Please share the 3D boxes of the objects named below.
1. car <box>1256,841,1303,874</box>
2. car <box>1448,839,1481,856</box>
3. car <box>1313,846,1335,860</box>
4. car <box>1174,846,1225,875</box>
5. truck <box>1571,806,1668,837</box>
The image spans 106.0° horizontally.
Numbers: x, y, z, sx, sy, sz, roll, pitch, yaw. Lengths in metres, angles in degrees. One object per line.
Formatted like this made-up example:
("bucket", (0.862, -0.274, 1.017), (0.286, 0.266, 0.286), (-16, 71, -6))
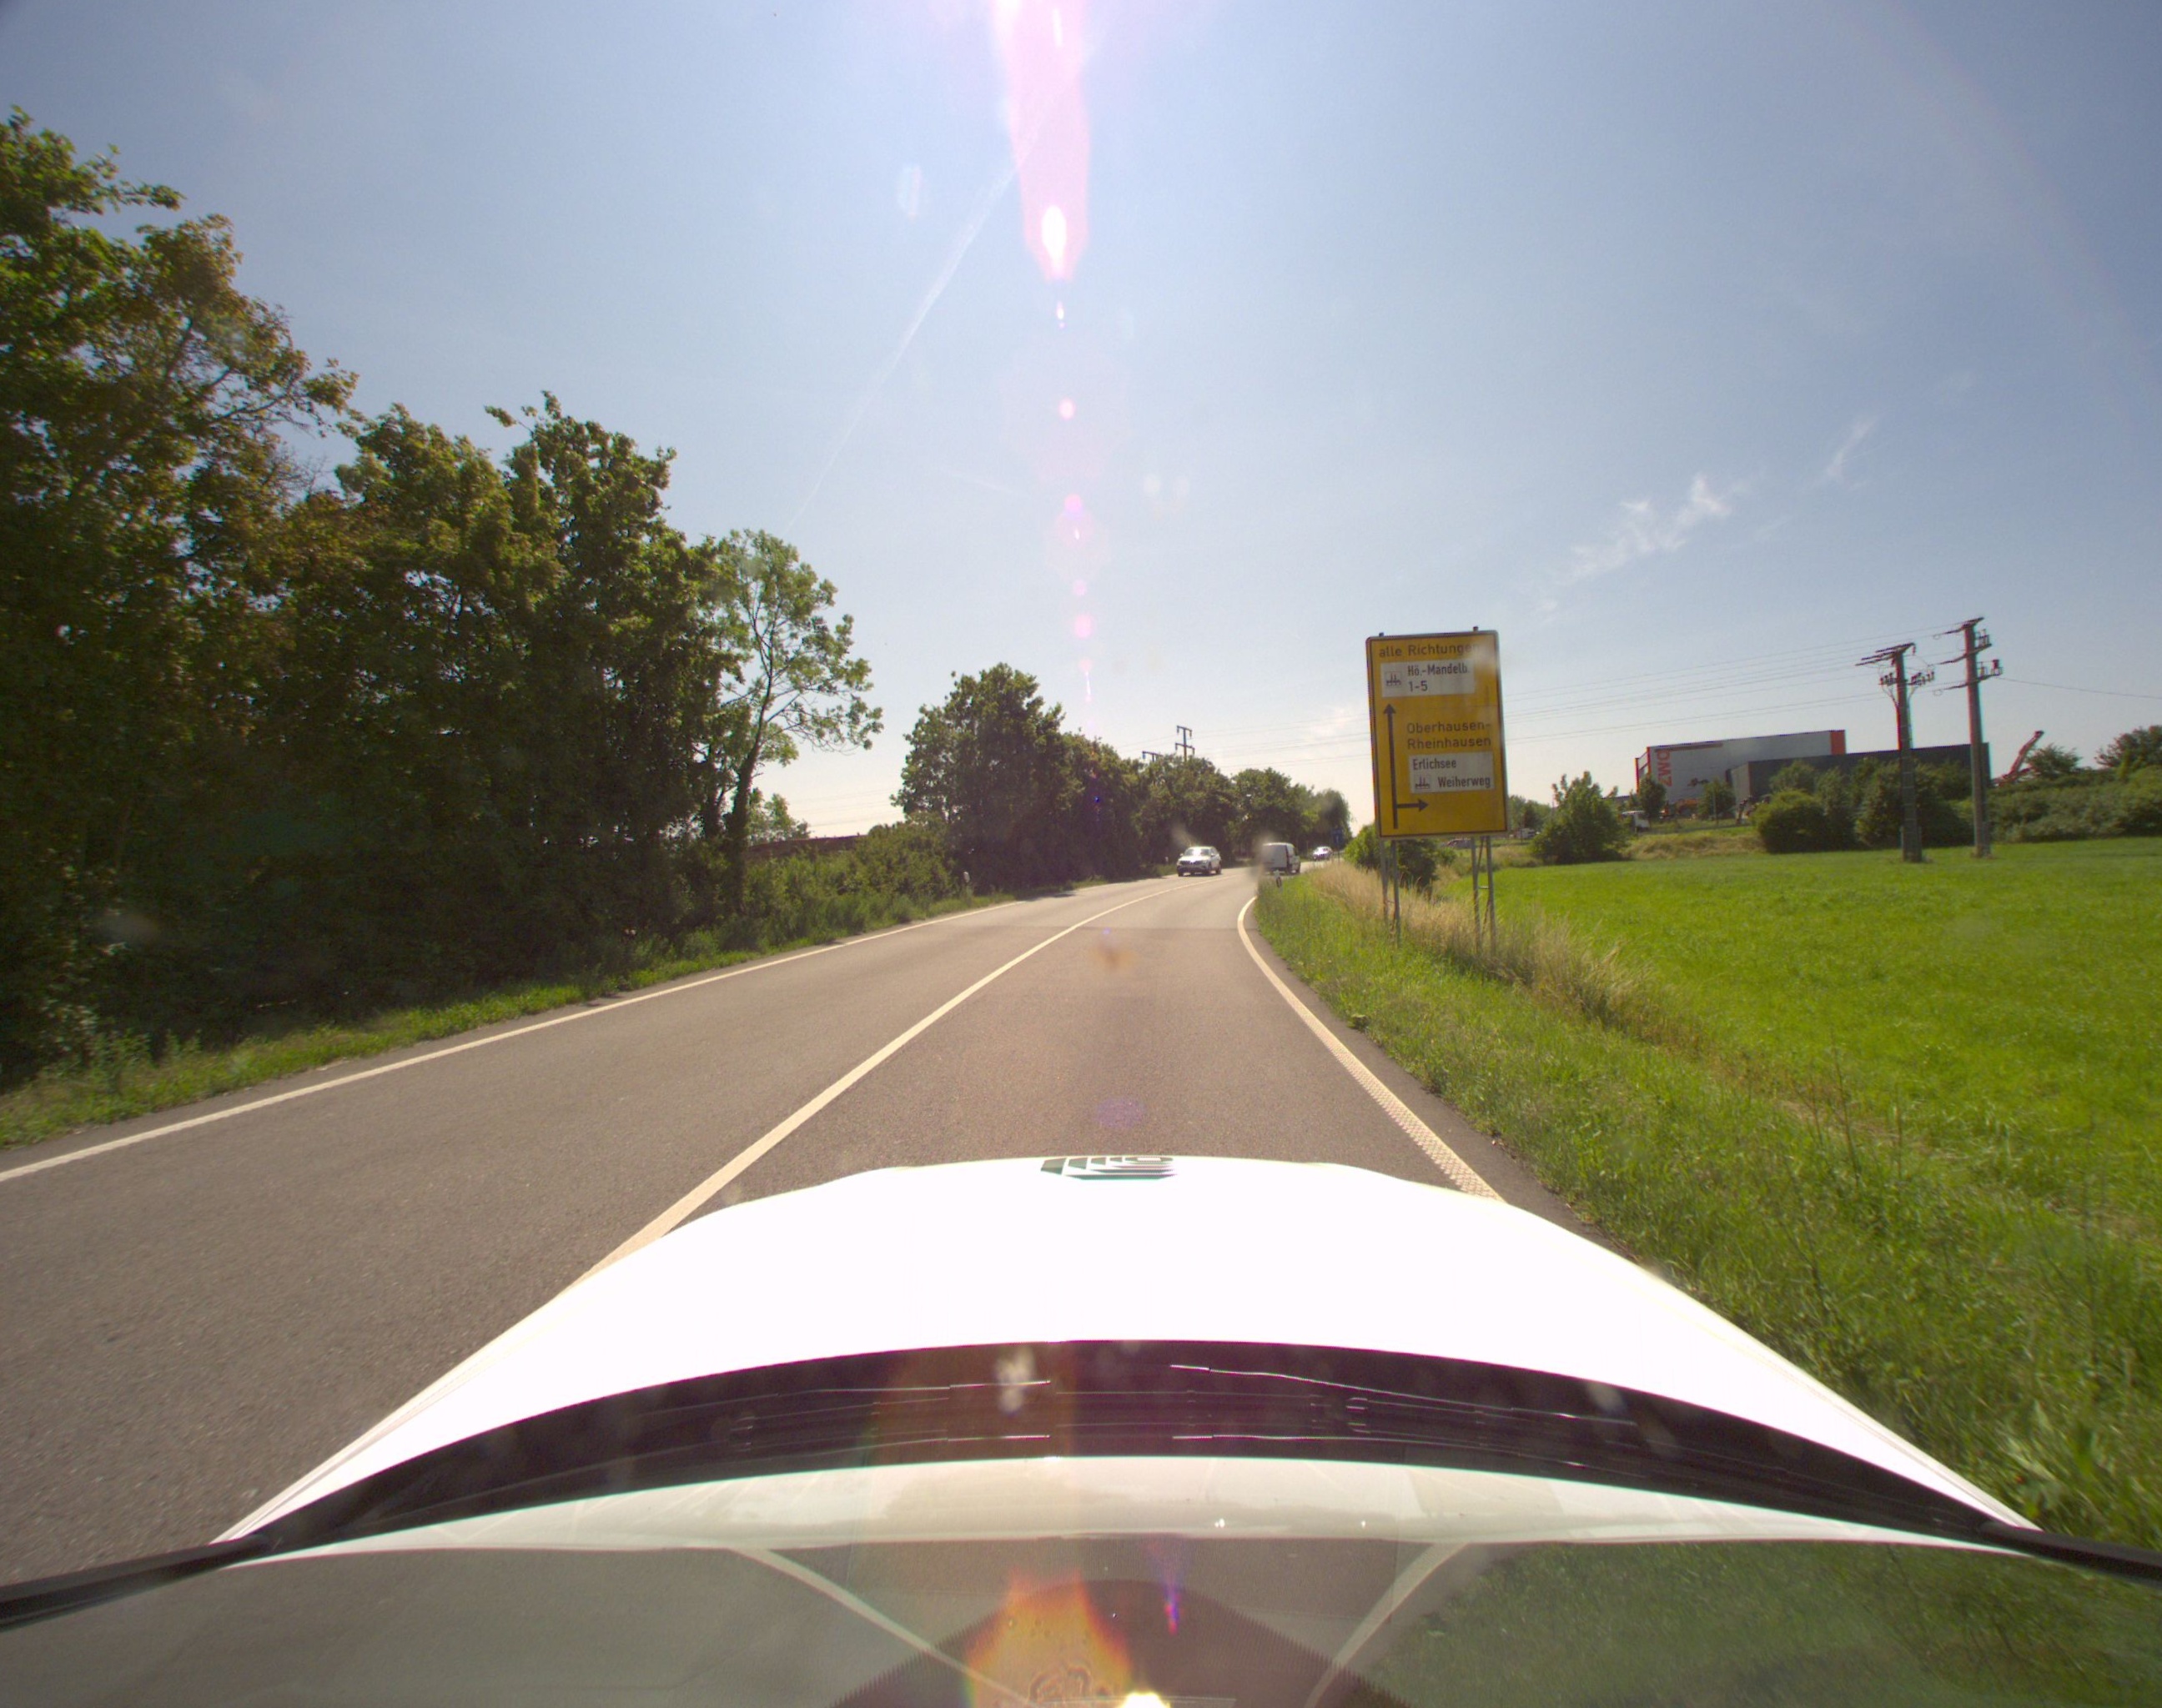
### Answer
("car", (11.346, 0.204, 46.387), (1.886, 1.732, 3.844), (-3, -1, 24))
("car", (50.813, -0.852, 107.930), (3.950, 2.014, 2.011), (-2, -2, 25))
("car", (27.736, -0.150, 92.930), (1.725, 1.589, 4.024), (-1, 0, 26))
("car", (6.864, 0.335, 46.829), (1.839, 1.601, 4.803), (0, 0, 21))
("truck", (61.486, -3.636, 93.245), (8.722, 3.137, 3.116), (-1, -2, 9))
